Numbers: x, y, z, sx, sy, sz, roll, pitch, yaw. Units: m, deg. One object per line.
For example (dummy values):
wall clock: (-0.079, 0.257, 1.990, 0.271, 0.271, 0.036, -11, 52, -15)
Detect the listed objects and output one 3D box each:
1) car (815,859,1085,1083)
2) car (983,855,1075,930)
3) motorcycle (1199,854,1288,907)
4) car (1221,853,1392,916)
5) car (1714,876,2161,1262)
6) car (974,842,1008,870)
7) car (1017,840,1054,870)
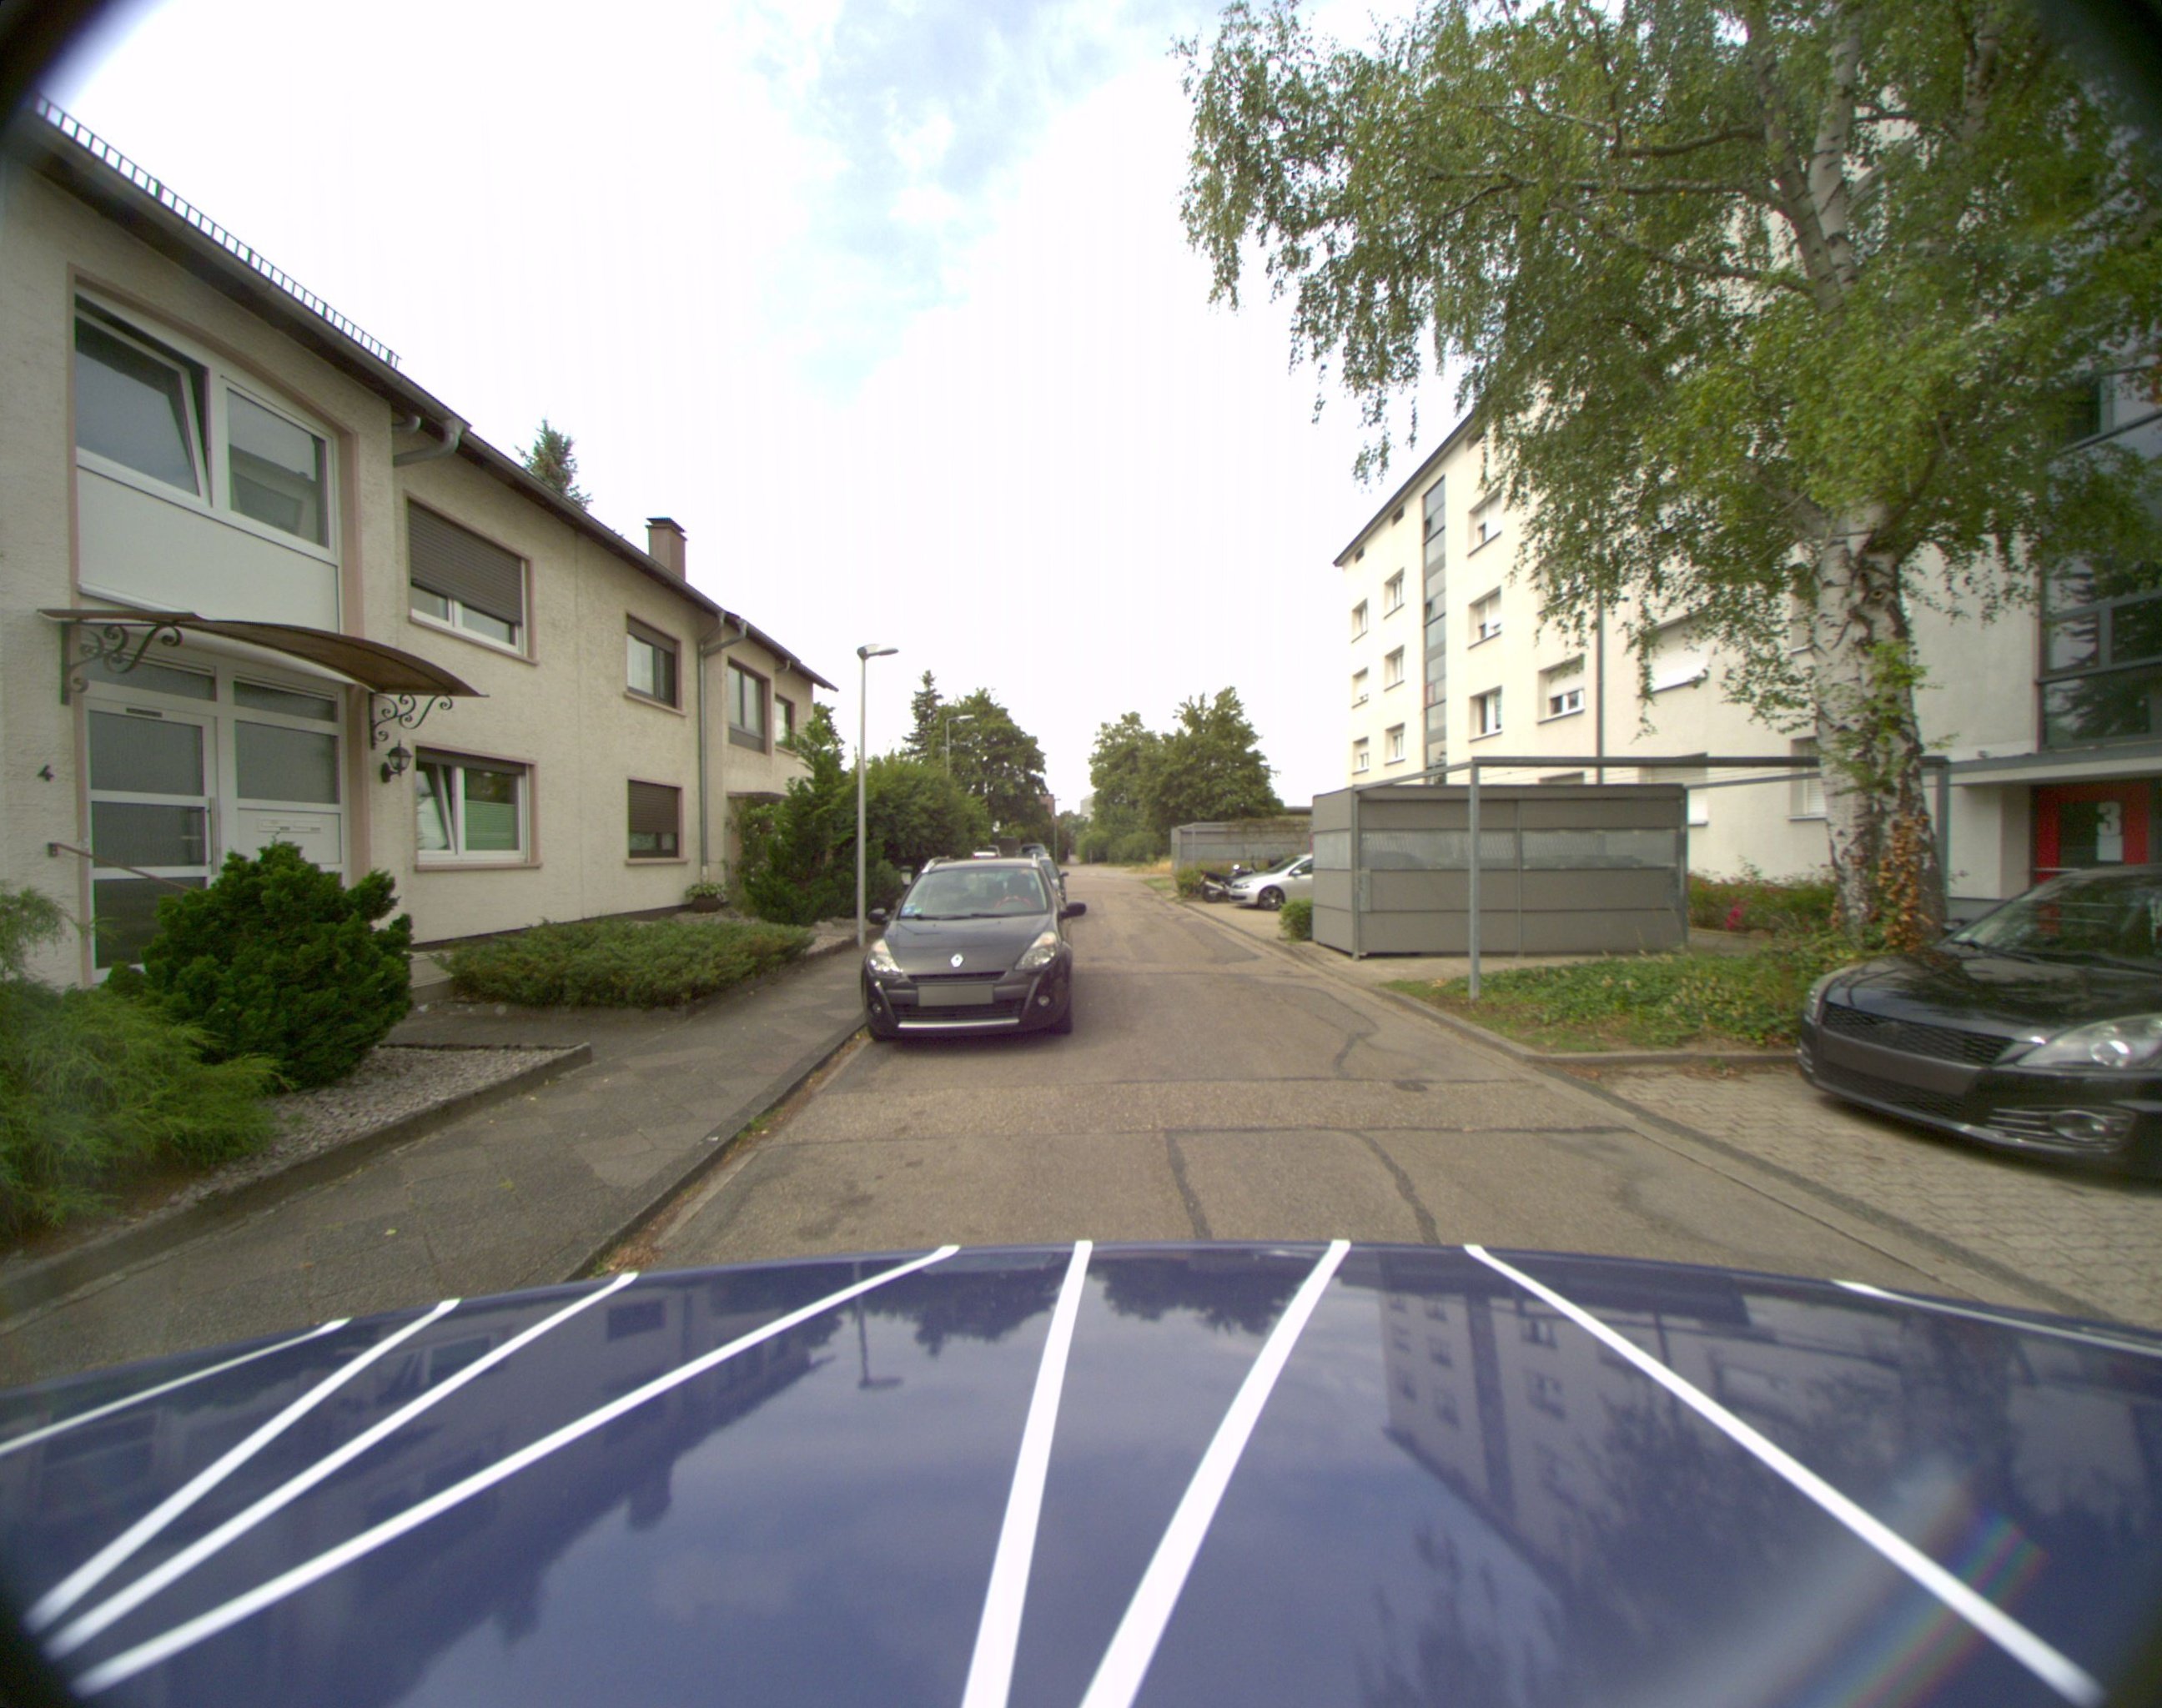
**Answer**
car: (-1.007, 0.832, 7.418, 1.834, 1.449, 4.188, -2, 1, -3)
car: (-1.166, 0.785, 17.694, 1.834, 1.449, 4.188, -2, 1, -3)
motorcycle: (4.686, 0.755, 22.025, 2.383, 1.456, 0.714, 1, 1, -1)
car: (5.935, 0.783, 20.372, 3.997, 1.477, 1.902, 1, 1, 1)
car: (6.101, 0.905, 4.002, 4.062, 1.496, 1.781, 0, 1, -1)
car: (-5.121, 0.066, 43.761, 1.705, 1.458, 3.997, 0, 2, -3)
car: (-2.580, 0.031, 43.182, 1.926, 1.576, 3.998, -2, 1, -3)
